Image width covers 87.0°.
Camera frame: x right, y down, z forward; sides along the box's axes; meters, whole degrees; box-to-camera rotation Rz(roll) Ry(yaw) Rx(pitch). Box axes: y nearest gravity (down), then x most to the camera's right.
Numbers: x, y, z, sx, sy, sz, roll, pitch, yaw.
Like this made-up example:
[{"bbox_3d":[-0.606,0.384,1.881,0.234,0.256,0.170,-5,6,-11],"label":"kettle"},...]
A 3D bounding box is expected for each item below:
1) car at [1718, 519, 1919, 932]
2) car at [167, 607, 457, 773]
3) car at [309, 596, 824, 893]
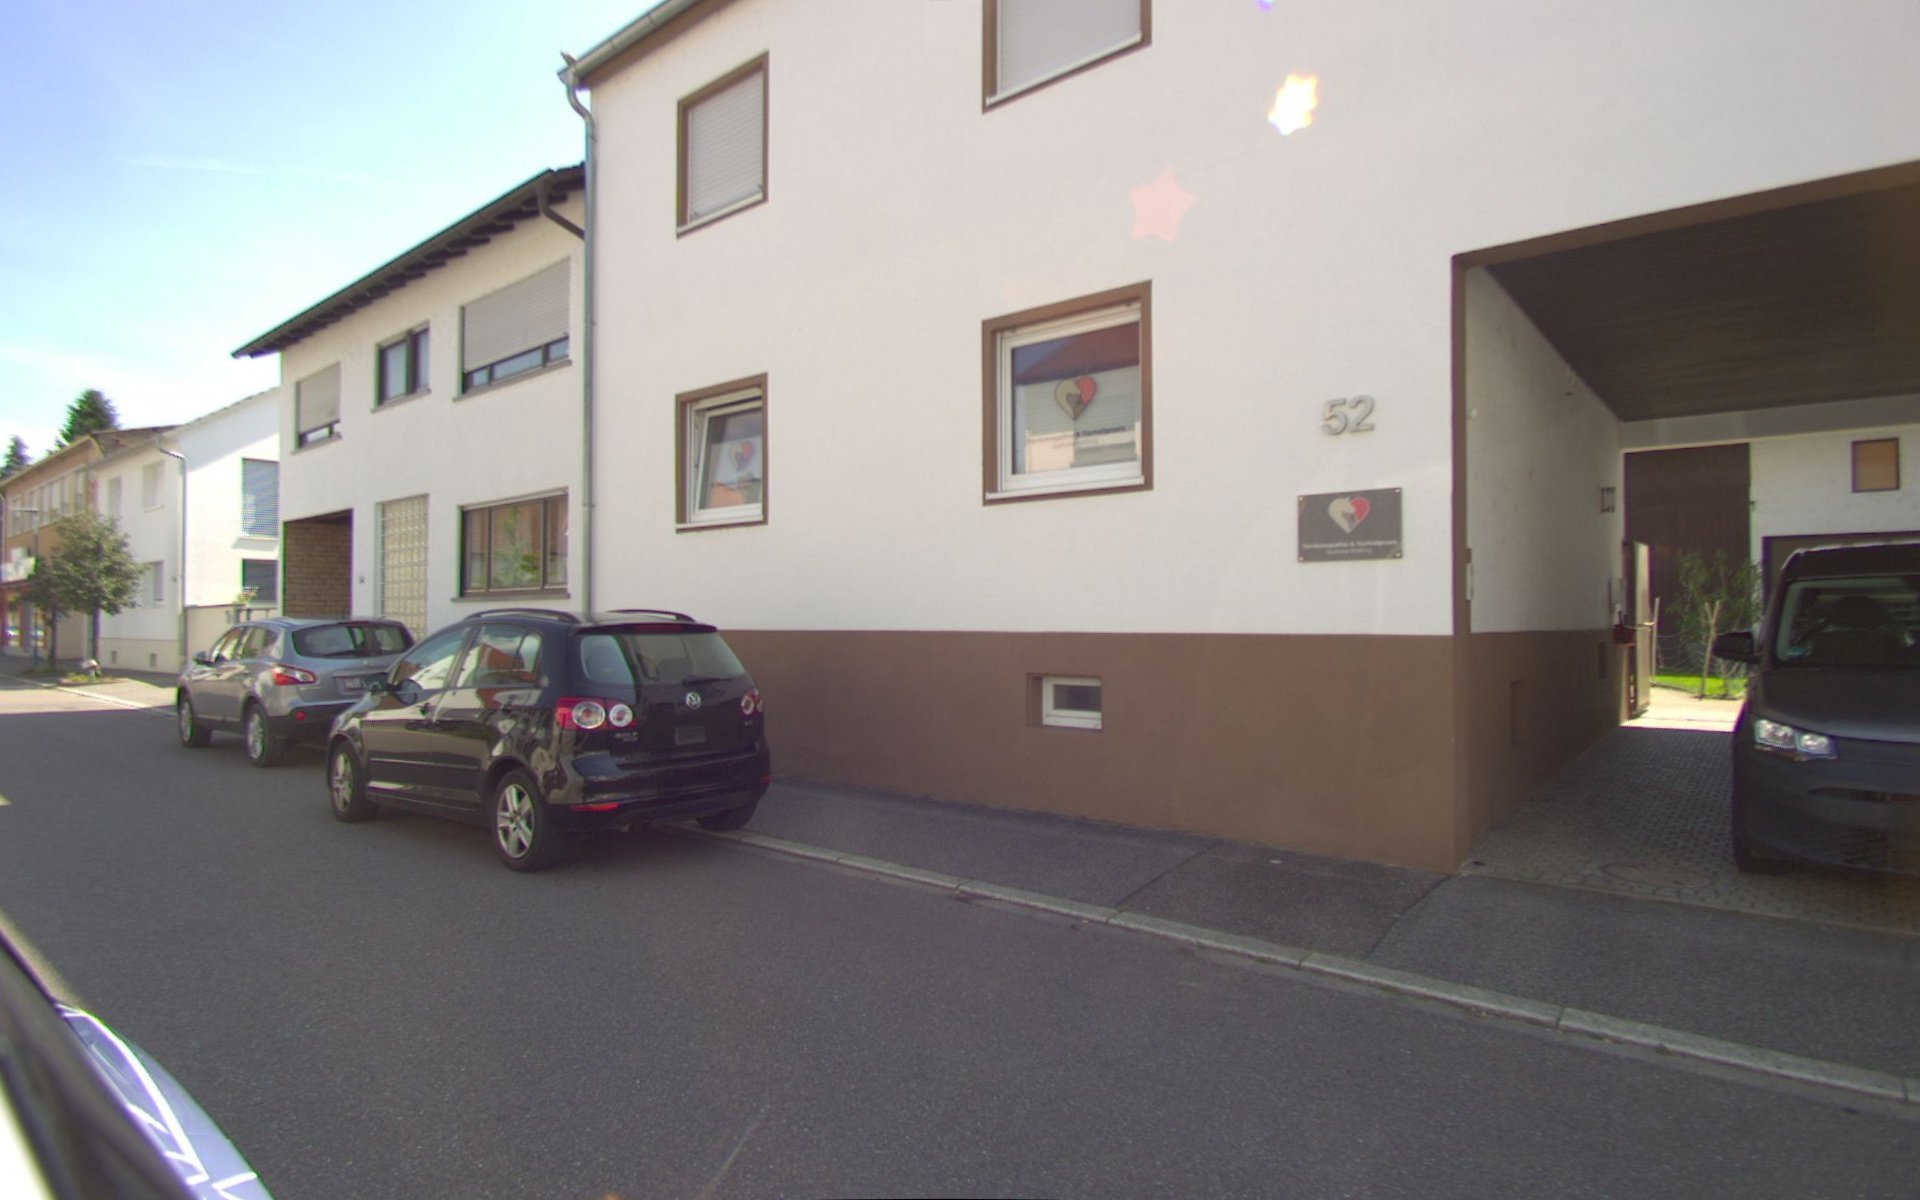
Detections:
[{"bbox_3d":[5.484,0.471,5.554,1.813,1.731,3.946,-2,0,41],"label":"car"},{"bbox_3d":[-7.773,0.939,11.996,4.117,1.630,1.736,-1,-2,40],"label":"car"},{"bbox_3d":[-2.982,0.819,7.326,3.950,1.578,1.731,-1,-2,38],"label":"car"}]
